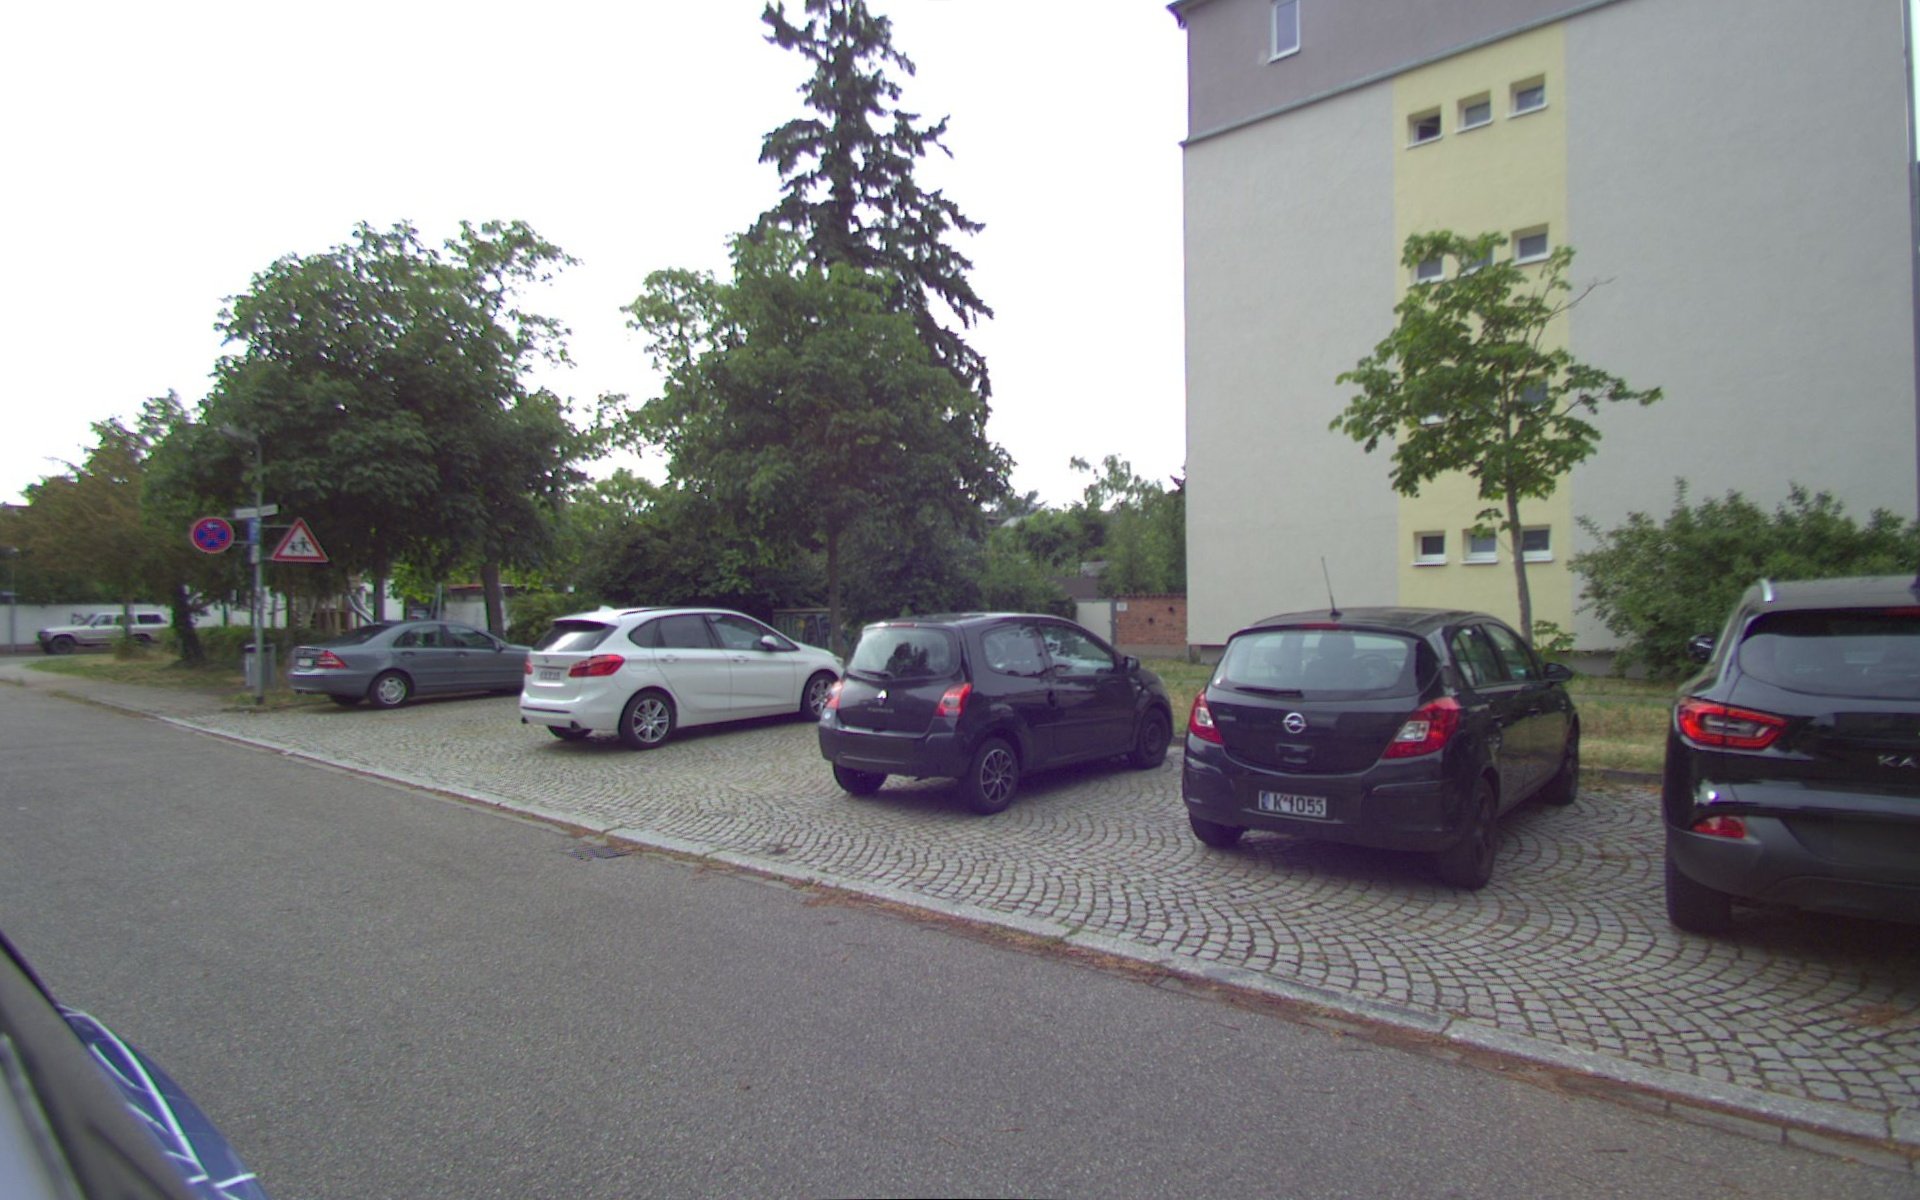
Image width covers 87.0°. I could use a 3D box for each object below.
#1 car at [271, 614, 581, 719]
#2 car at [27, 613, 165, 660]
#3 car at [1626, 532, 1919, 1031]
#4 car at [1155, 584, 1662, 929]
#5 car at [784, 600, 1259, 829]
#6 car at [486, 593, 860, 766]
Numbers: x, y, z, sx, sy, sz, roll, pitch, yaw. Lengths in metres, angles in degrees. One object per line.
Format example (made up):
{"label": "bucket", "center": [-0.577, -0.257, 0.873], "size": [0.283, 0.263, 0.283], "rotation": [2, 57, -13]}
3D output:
{"label": "car", "center": [-9.081, 1.044, 17.605], "size": [1.676, 1.465, 4.506], "rotation": [-1, 0, 35]}
{"label": "car", "center": [-39.022, 1.607, 45.806], "size": [1.996, 1.873, 4.440], "rotation": [2, 1, 36]}
{"label": "car", "center": [4.738, 0.584, 4.844], "size": [1.917, 1.710, 4.011], "rotation": [-1, 0, 43]}
{"label": "car", "center": [3.300, 0.716, 6.918], "size": [1.842, 1.577, 4.295], "rotation": [-1, 0, 43]}
{"label": "car", "center": [0.795, 0.792, 9.172], "size": [1.842, 1.474, 4.495], "rotation": [-1, 0, 43]}
{"label": "car", "center": [-3.375, 0.804, 12.564], "size": [1.883, 1.572, 4.095], "rotation": [0, 3, 39]}
